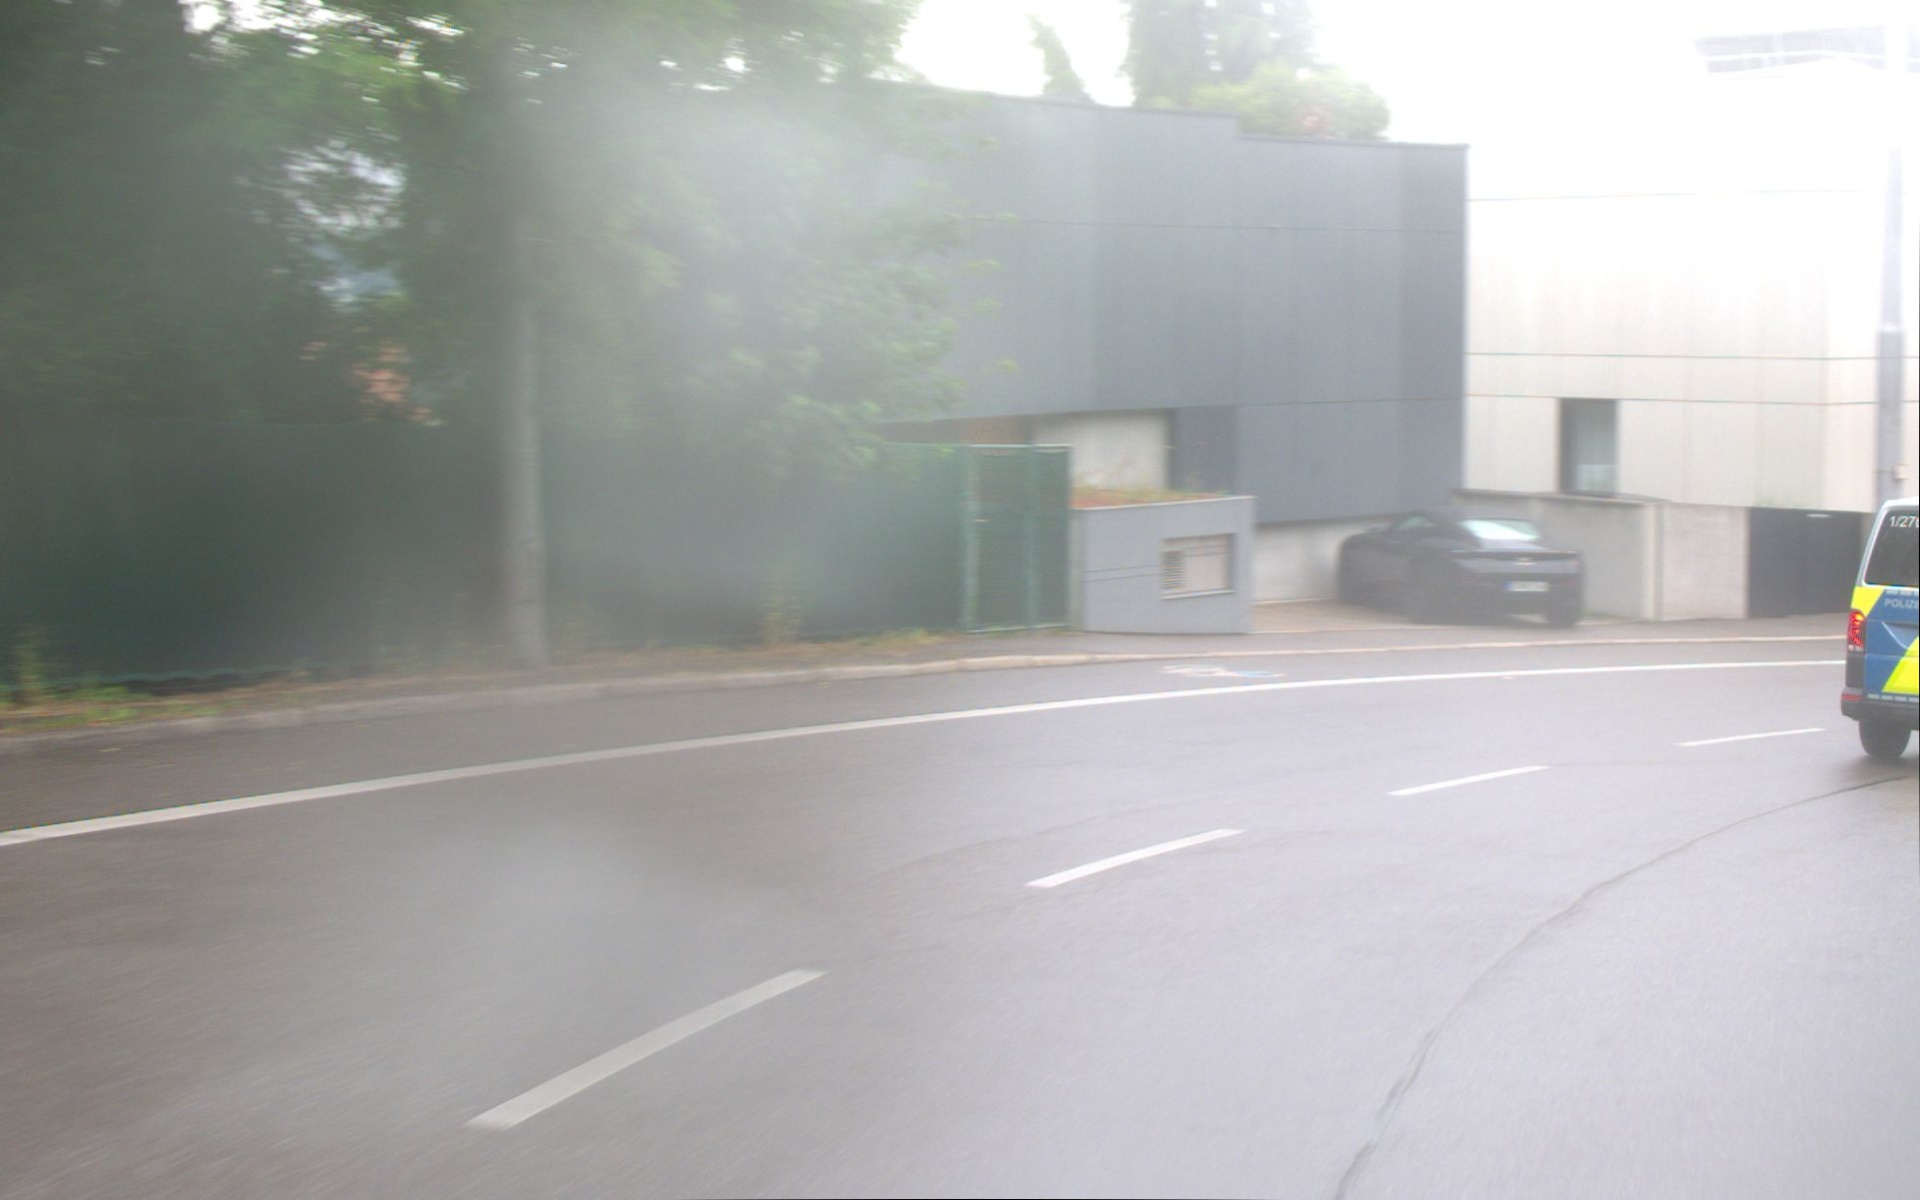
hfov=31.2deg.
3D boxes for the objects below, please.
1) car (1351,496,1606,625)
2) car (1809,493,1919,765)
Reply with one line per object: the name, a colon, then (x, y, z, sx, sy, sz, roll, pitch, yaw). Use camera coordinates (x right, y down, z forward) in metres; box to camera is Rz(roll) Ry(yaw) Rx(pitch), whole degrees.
car: (5.985, -0.498, 40.148, 1.891, 1.296, 4.001, 2, 2, -7)
car: (8.146, 0.250, 25.800, 1.997, 1.887, 4.561, 2, 1, 33)
